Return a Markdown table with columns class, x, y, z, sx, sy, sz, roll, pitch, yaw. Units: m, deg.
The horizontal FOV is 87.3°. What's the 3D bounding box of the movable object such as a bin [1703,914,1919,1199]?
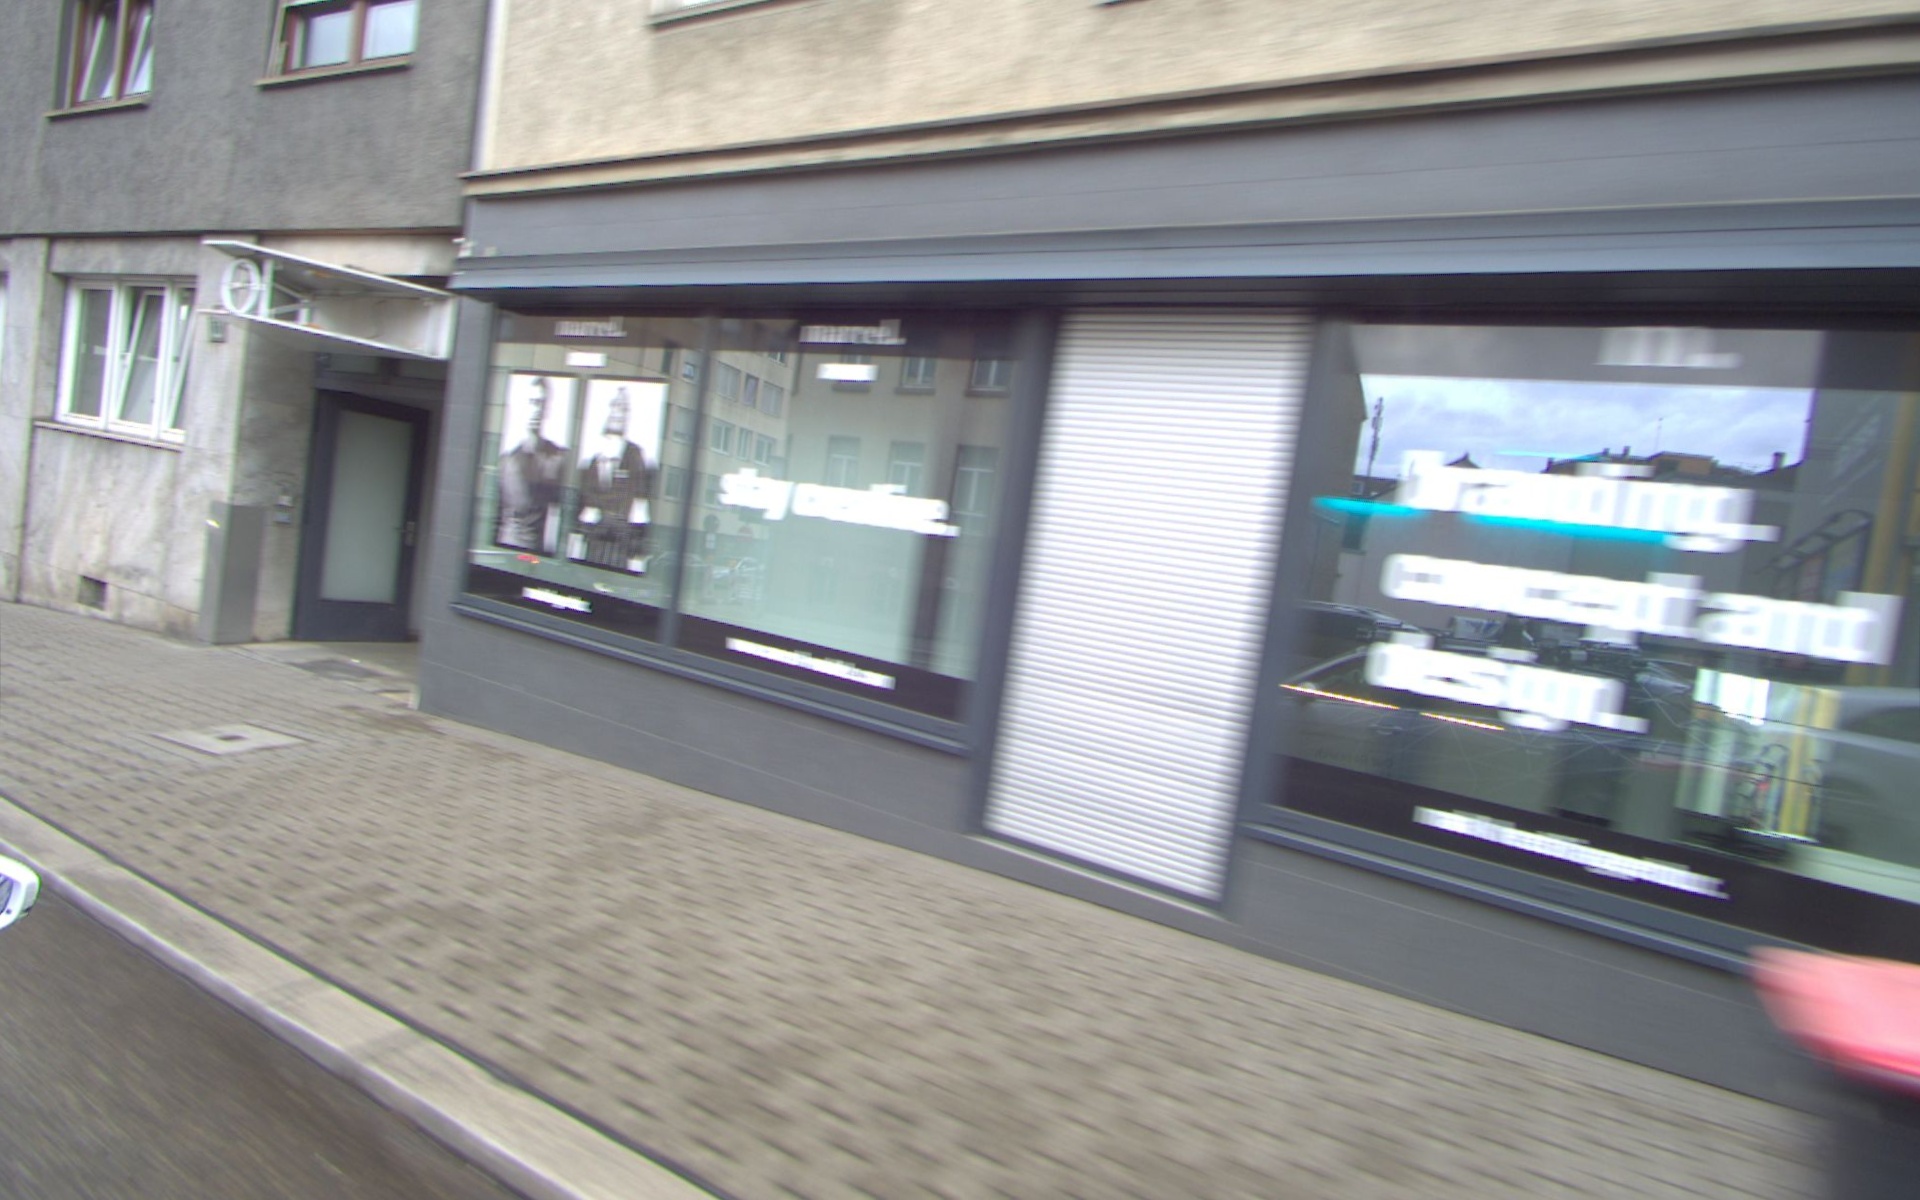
| class | x | y | z | sx | sy | sz | roll | pitch | yaw |
| --- | --- | --- | --- | --- | --- | --- | --- | --- | --- |
| movable object such as a bin | 1.446 | 1.082 | 1.485 | 0.529 | 0.993 | 0.525 | 12 | 3 | 34 |
